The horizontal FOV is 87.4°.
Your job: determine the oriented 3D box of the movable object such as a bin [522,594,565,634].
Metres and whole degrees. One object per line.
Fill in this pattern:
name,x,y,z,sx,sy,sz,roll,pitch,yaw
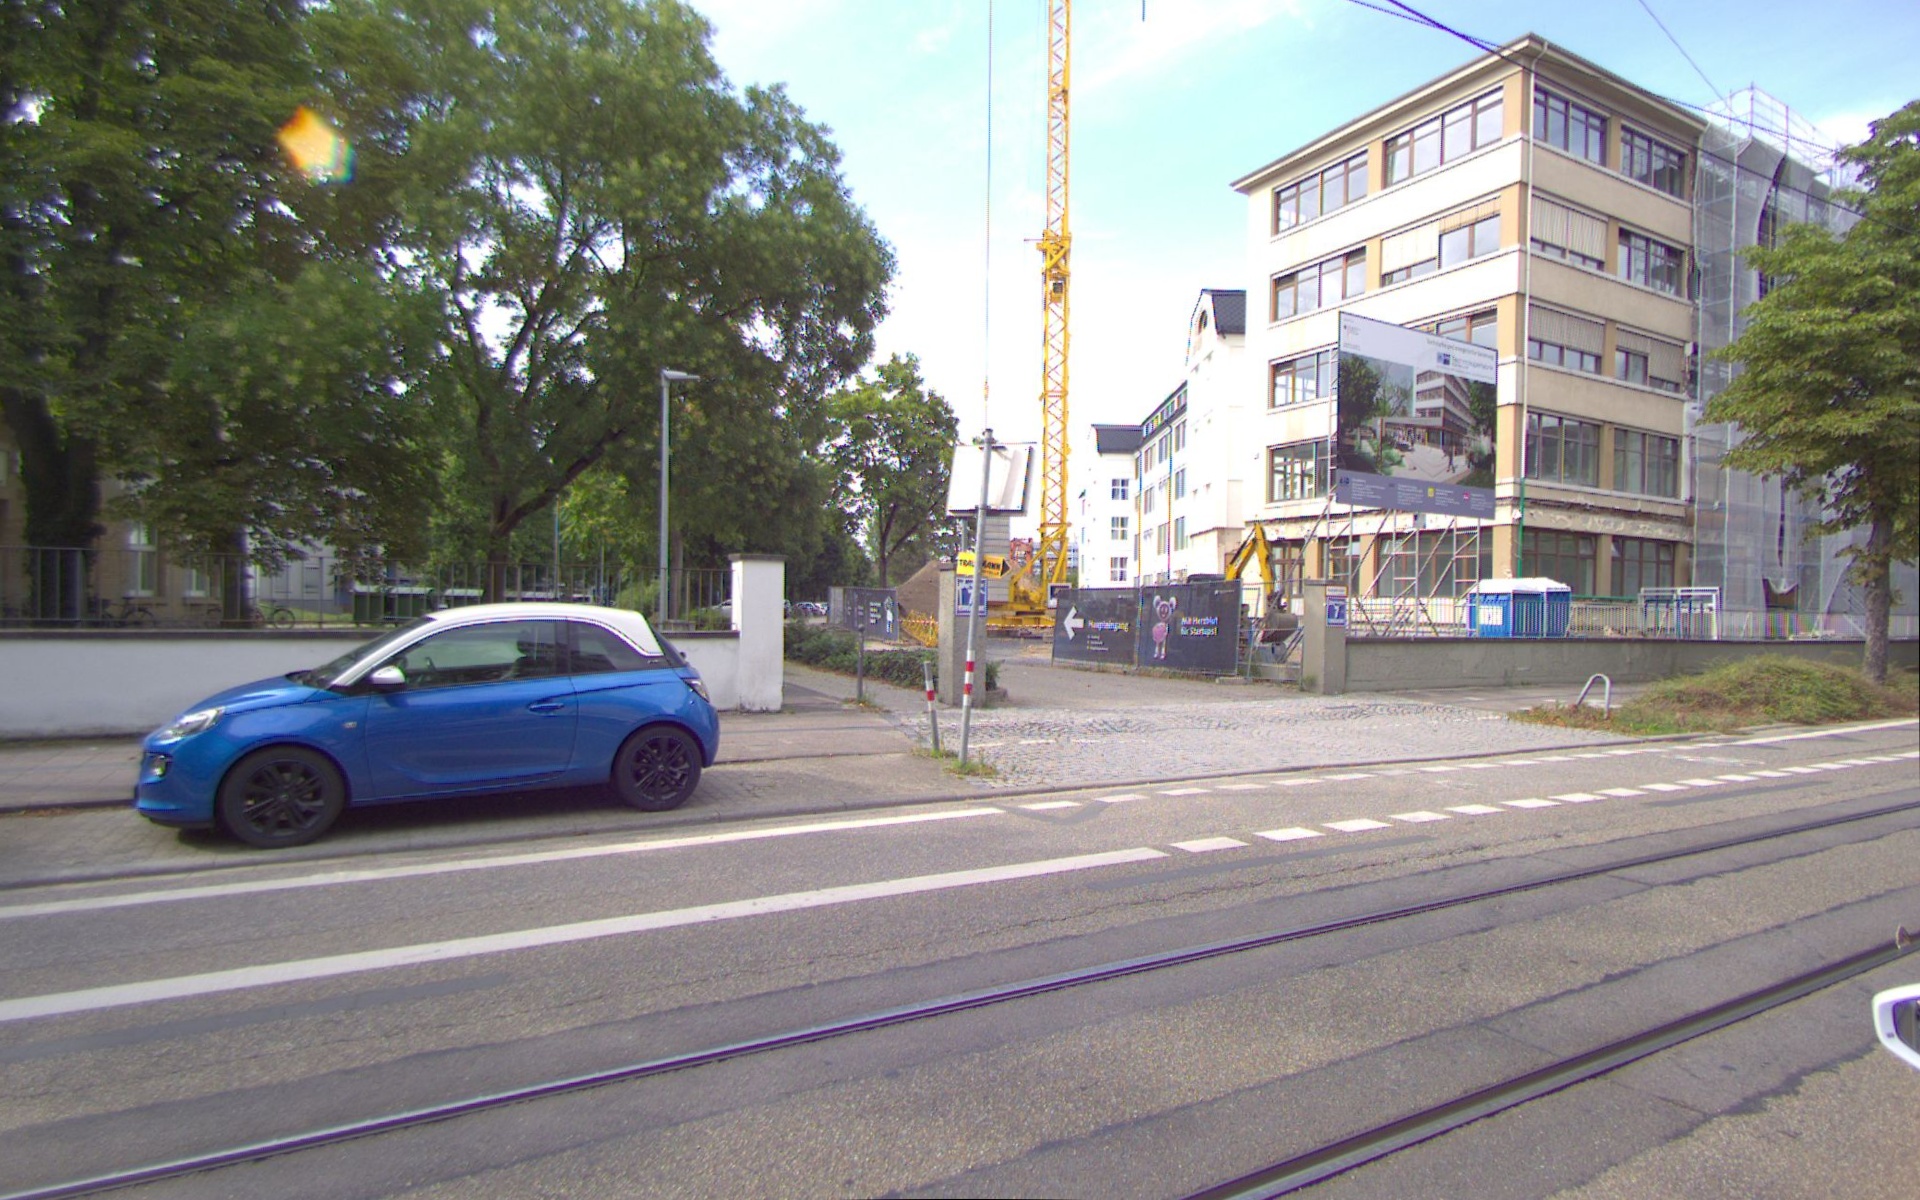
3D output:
movable object such as a bin,-13.786,0.466,33.245,1.073,1.290,0.861,1,1,-3

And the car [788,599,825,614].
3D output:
car,-16.543,0.728,108.404,3.927,1.518,1.911,1,0,-9

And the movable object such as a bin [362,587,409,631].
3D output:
movable object such as a bin,-19.084,0.289,33.392,1.001,1.393,0.970,1,1,-3

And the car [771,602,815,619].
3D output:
car,-15.293,0.947,92.255,3.927,1.518,1.911,1,0,-9

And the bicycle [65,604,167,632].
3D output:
bicycle,-22.469,0.474,26.784,2.028,0.718,0.707,1,1,-37

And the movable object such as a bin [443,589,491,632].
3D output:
movable object such as a bin,-16.442,0.350,33.518,1.180,1.393,0.861,1,1,-3

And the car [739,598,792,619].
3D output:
car,-15.303,0.648,79.169,3.927,1.518,1.911,1,0,-9

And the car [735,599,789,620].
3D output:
car,-14.913,0.697,75.883,3.927,1.518,1.911,1,0,-9

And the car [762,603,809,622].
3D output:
car,-14.864,1.030,85.747,3.927,1.518,1.911,1,0,-9

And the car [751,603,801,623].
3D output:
car,-15.076,1.061,82.313,3.927,1.518,1.911,1,0,-9

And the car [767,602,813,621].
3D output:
car,-14.994,0.995,88.550,3.927,1.518,1.911,1,0,-9

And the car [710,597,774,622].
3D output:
car,-13.963,0.630,64.513,3.927,1.518,1.911,1,0,-9

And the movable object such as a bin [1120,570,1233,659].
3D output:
movable object such as a bin,5.395,0.352,25.159,1.935,2.095,1.979,1,0,-27

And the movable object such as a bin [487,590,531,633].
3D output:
movable object such as a bin,-15.021,0.383,33.468,1.073,1.393,0.861,1,1,-3

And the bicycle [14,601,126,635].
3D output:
bicycle,-22.151,0.437,25.035,2.010,0.783,0.713,1,1,-10

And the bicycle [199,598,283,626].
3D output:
bicycle,-22.179,0.369,31.015,2.010,0.783,0.713,1,1,-10

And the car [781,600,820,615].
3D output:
car,-16.563,0.769,104.286,3.927,1.518,1.911,1,0,-9

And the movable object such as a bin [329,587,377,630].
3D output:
movable object such as a bin,-20.153,0.265,33.358,1.001,1.393,0.970,1,1,-3

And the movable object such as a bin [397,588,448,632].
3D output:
movable object such as a bin,-17.862,0.318,33.392,1.180,1.393,0.970,1,1,-3

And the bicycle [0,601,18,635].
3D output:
bicycle,-21.885,0.372,21.825,2.010,0.718,0.713,1,1,-10

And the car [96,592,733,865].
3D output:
car,-3.681,0.746,7.285,3.634,1.507,1.685,1,1,-30

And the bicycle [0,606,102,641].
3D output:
bicycle,-21.963,0.567,24.095,2.010,0.783,0.713,1,1,-10

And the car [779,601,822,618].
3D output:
car,-15.092,0.914,94.921,3.927,1.518,1.911,1,0,-9
